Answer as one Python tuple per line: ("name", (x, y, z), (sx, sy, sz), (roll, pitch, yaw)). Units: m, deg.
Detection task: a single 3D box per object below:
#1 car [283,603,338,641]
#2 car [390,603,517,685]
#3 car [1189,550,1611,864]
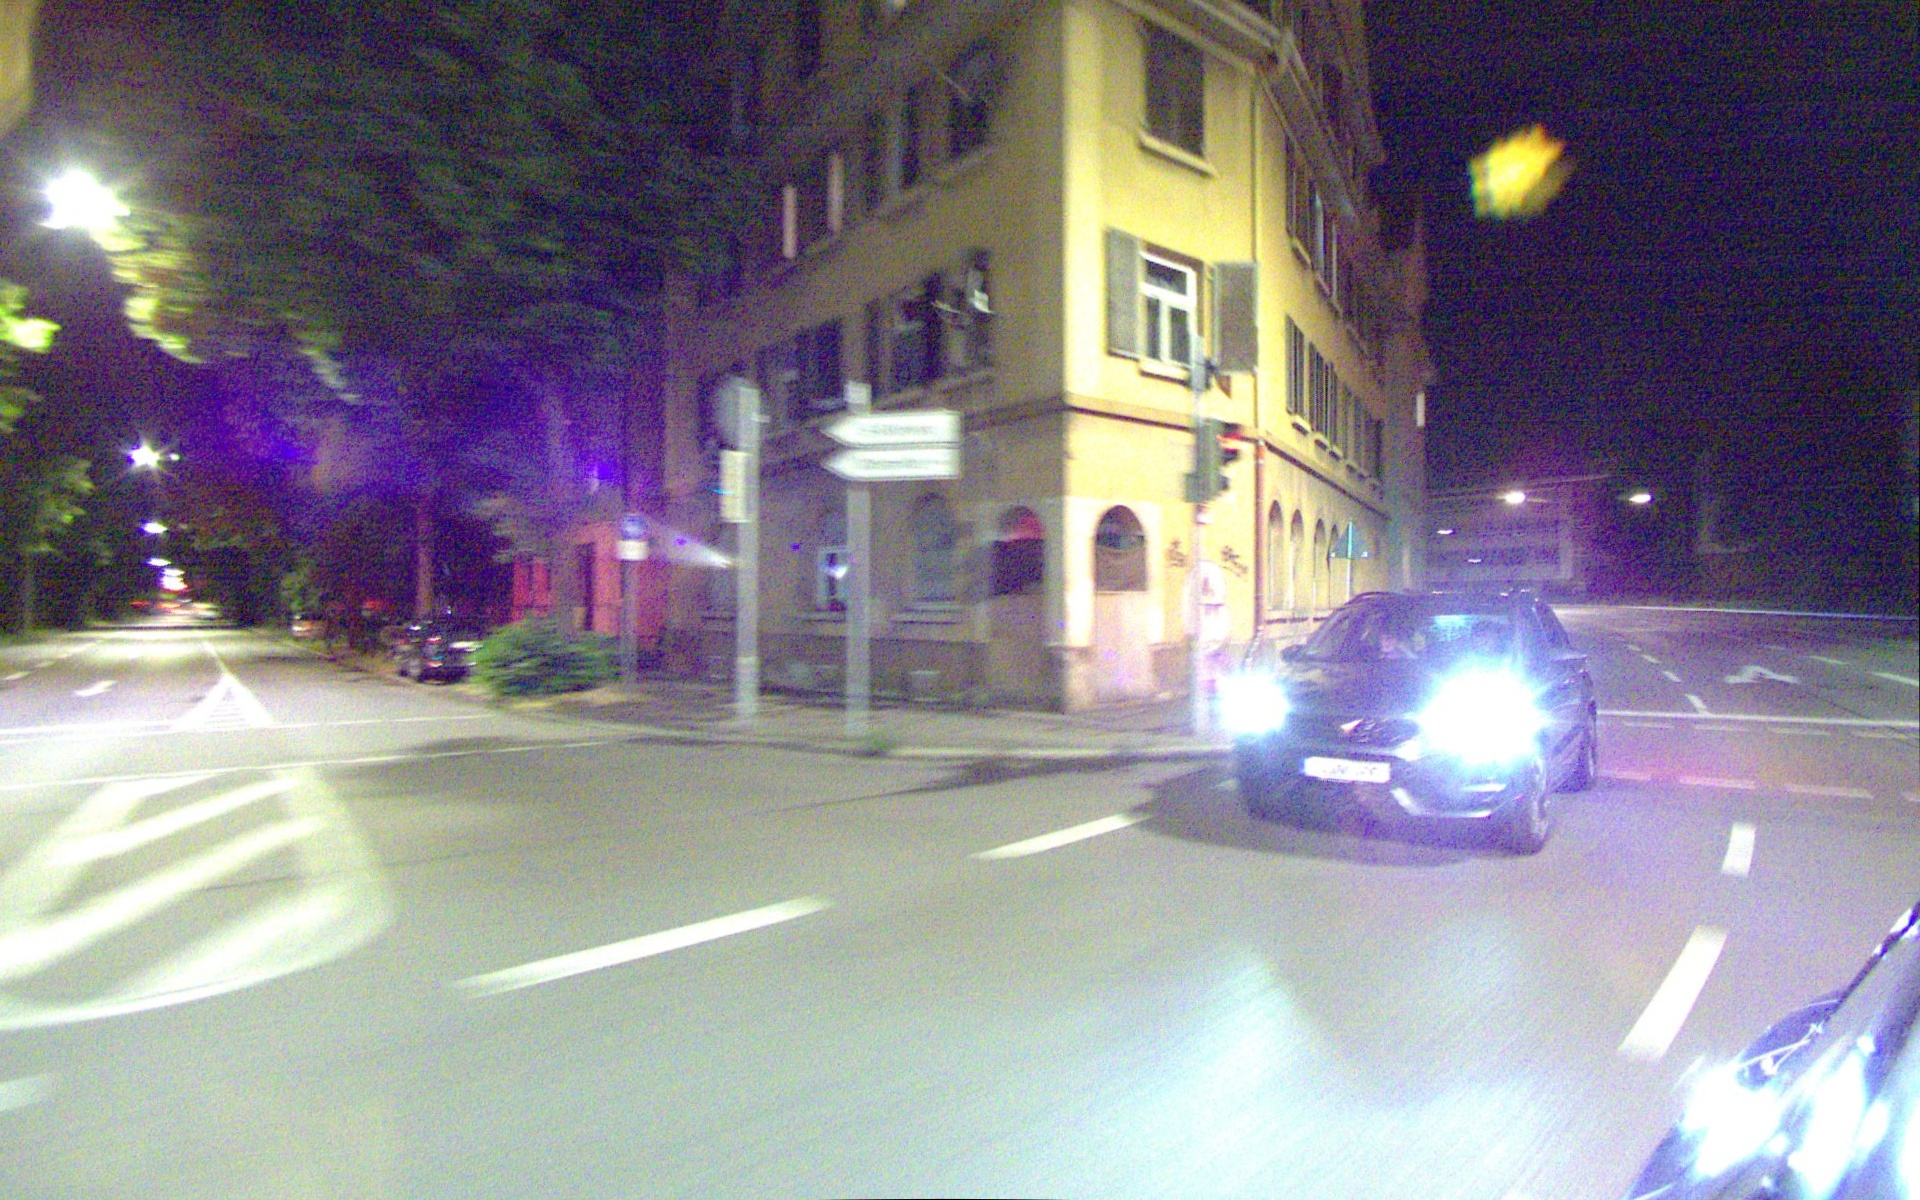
("car", (-31.730, 1.087, 49.390), (1.963, 1.685, 3.897), (0, -4, -37))
("car", (-11.371, 0.914, 22.569), (1.962, 1.609, 3.999), (-1, 0, -35))
("car", (3.448, 0.528, 7.467), (1.989, 1.636, 3.947), (-1, 1, 37))
